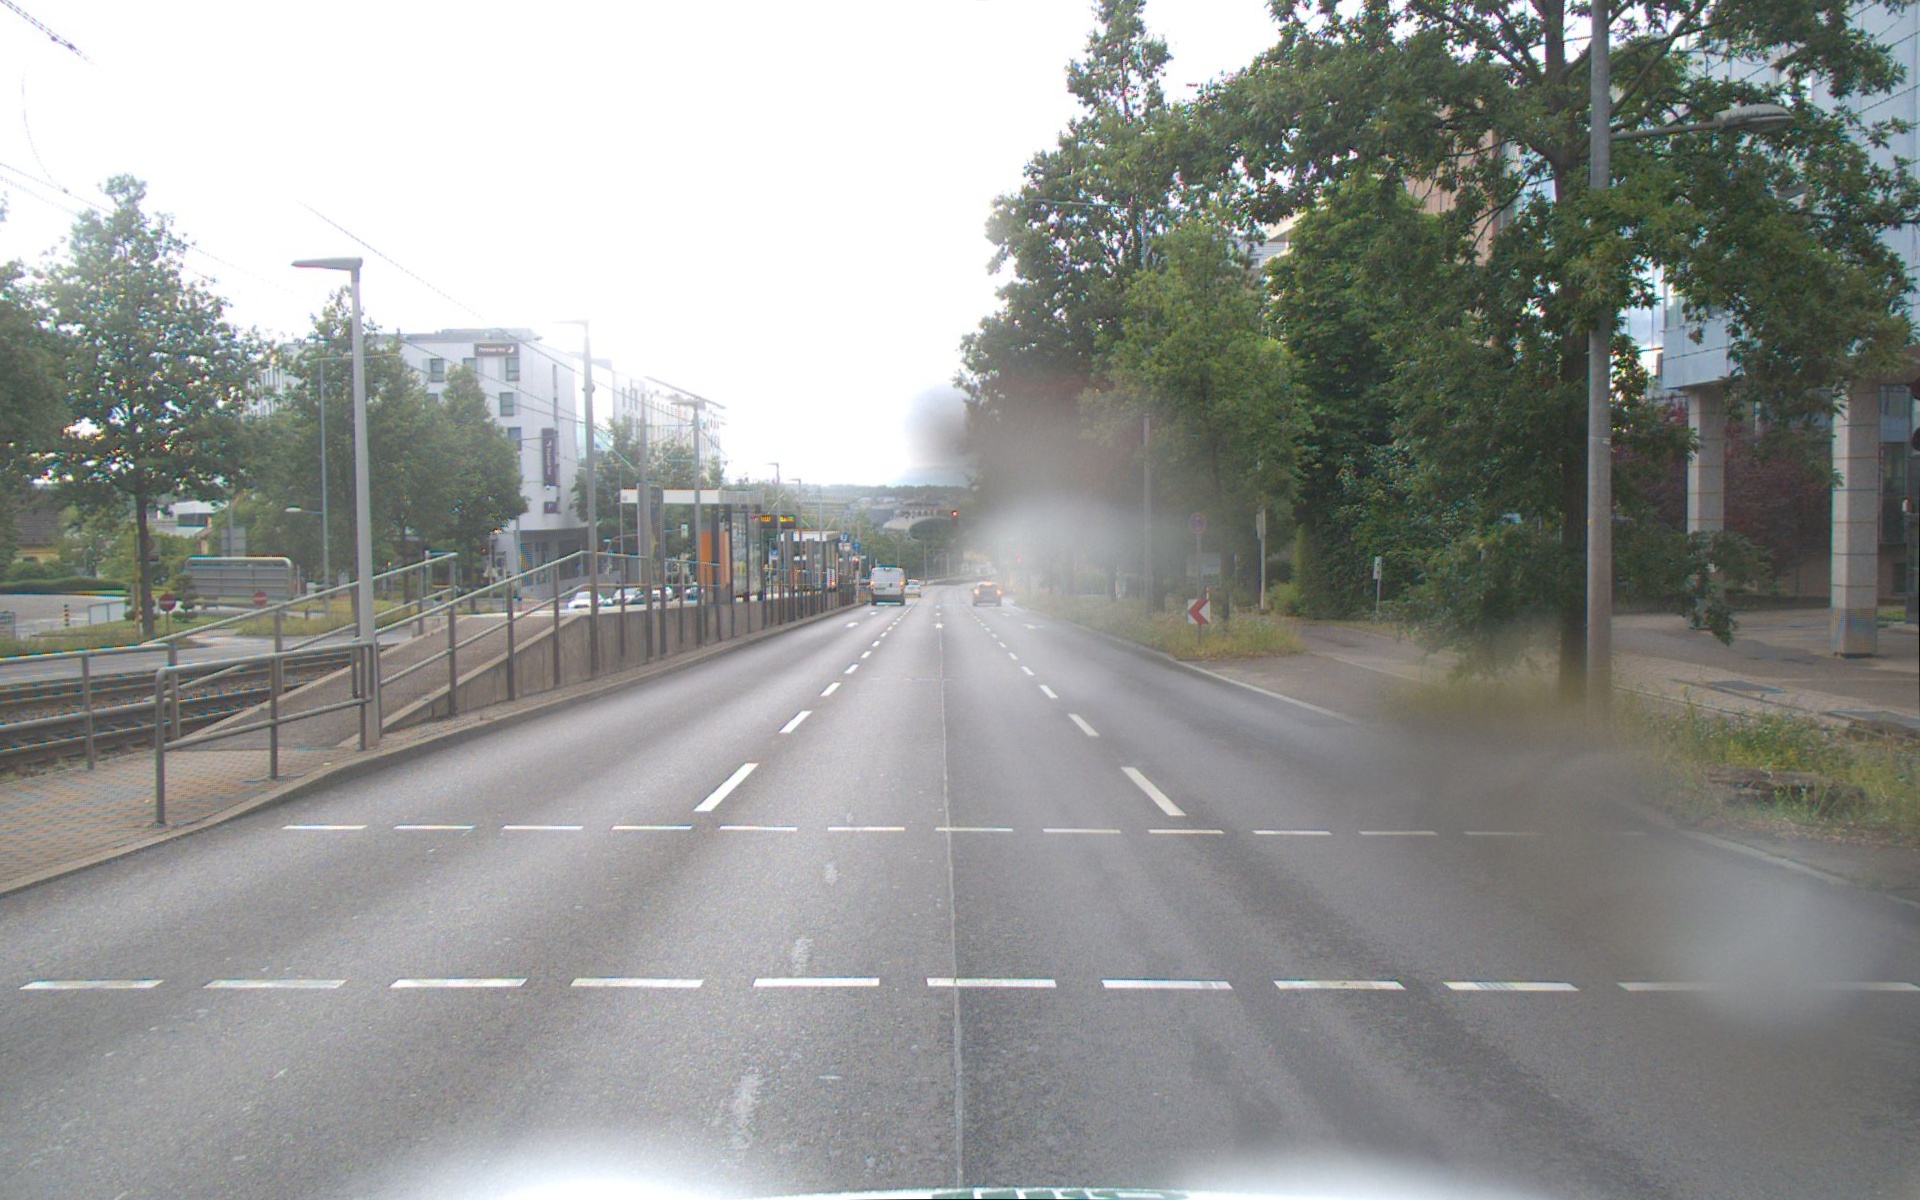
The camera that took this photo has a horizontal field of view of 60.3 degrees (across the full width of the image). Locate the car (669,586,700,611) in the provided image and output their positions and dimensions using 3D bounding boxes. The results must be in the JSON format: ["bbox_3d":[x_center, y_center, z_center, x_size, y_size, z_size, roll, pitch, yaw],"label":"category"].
[{"bbox_3d":[-17.493,-0.084,104.770,1.622,1.461,3.866,-2,1,-14],"label":"car"}]

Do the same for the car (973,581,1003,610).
[{"bbox_3d":[1.739,-0.298,102.883,1.738,1.720,3.845,0,1,-1],"label":"car"}]

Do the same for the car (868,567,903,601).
[{"bbox_3d":[-4.578,-0.983,102.355,2.050,2.089,4.605,0,1,-1],"label":"car"}]

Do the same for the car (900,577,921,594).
[{"bbox_3d":[-4.226,-1.255,141.833,1.747,1.414,3.999,0,1,-2],"label":"car"}]

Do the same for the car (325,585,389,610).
[{"bbox_3d":[-34.746,-0.138,95.333,3.297,1.411,1.434,0,1,16],"label":"car"}]

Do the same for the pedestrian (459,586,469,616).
[{"bbox_3d":[-32.754,0.069,109.201,0.465,1.954,0.490,0,0,-1],"label":"pedestrian"}]

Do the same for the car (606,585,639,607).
[{"bbox_3d":[-21.922,-0.269,107.448,1.536,1.402,3.517,0,1,-3],"label":"car"}]

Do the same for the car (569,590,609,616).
[{"bbox_3d":[-22.050,0.157,98.375,1.618,1.461,3.877,-2,1,-3],"label":"car"}]
